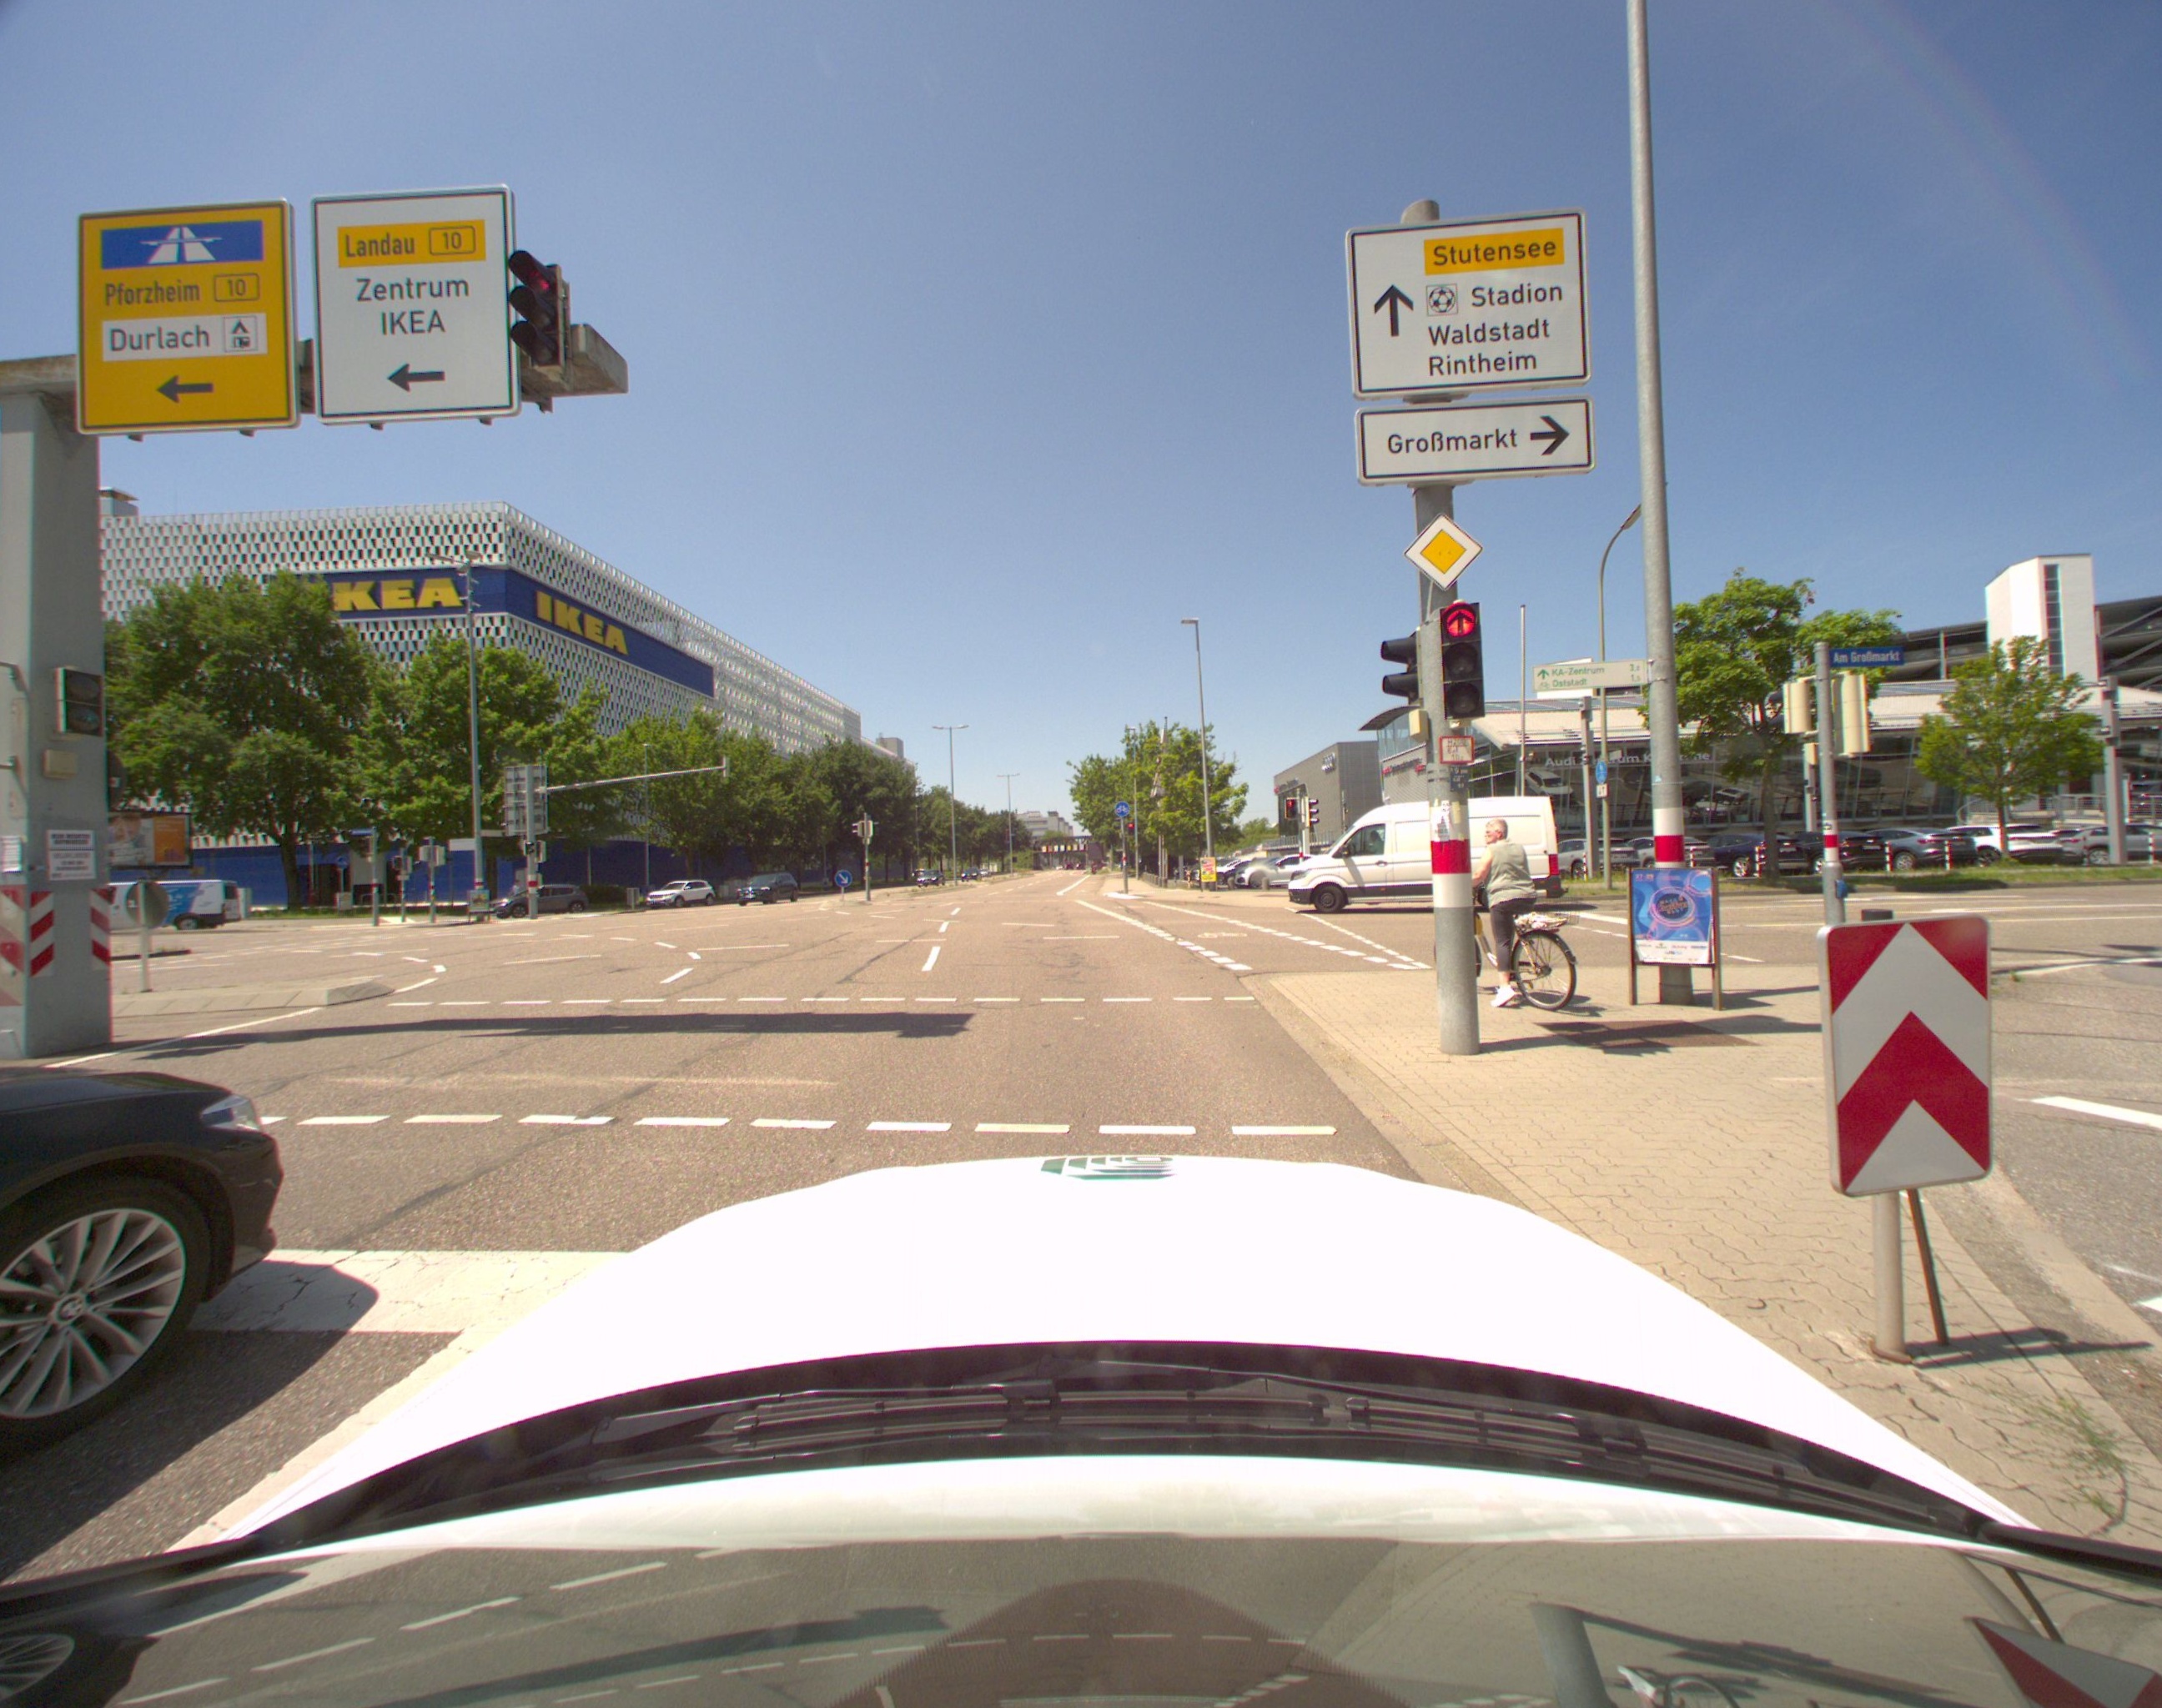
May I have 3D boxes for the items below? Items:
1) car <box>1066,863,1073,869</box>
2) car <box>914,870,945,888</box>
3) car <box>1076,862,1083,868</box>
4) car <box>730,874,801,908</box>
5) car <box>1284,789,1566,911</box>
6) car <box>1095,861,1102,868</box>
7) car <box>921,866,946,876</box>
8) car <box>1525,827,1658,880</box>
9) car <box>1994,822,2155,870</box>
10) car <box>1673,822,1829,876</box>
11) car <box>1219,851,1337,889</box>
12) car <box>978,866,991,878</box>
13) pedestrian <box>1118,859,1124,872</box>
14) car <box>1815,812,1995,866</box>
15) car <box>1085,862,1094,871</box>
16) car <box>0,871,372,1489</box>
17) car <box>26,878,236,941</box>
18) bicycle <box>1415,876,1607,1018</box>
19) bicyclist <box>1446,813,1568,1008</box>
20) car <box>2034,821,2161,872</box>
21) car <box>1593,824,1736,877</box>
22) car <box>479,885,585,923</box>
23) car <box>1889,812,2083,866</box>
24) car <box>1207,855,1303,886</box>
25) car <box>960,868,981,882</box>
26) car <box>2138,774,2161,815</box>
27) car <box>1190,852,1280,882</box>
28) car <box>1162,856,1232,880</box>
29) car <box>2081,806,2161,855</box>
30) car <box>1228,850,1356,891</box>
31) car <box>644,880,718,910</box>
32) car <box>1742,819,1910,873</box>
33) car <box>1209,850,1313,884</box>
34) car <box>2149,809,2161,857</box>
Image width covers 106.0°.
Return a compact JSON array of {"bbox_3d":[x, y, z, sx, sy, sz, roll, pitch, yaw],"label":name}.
[{"bbox_3d":[-3.224,3.279,225.966,1.765,1.728,4.001,-3,-1,2],"label":"car"},{"bbox_3d":[-12.814,2.107,69.246,1.725,1.427,3.707,-4,-1,2],"label":"car"},{"bbox_3d":[-0.491,2.998,220.597,1.765,1.728,4.001,-3,-1,2],"label":"car"},{"bbox_3d":[-16.768,1.910,43.498,1.868,1.598,4.498,-3,-1,2],"label":"car"},{"bbox_3d":[7.881,-0.018,19.193,5.734,2.534,2.113,-2,-1,19],"label":"car"},{"bbox_3d":[4.762,2.766,220.859,1.765,1.728,4.001,-3,-1,2],"label":"car"},{"bbox_3d":[-27.204,3.170,149.984,3.982,1.810,2.010,0,0,19],"label":"car"},{"bbox_3d":[17.936,-0.020,28.896,1.986,1.639,4.443,-3,0,2],"label":"car"},{"bbox_3d":[40.296,-0.301,33.156,3.720,1.772,1.781,-3,-1,32],"label":"car"},{"bbox_3d":[23.224,-0.170,28.489,1.821,1.639,4.476,-3,0,2],"label":"car"},{"bbox_3d":[8.586,0.700,35.821,4.721,1.457,2.002,-2,-2,3],"label":"car"},{"bbox_3d":[-15.049,2.784,127.278,1.645,1.653,4.160,-2,-1,-2],"label":"car"},{"bbox_3d":[4.852,1.369,99.203,0.665,1.510,0.736,-2,-1,1],"label":"pedestrian"},{"bbox_3d":[28.553,-0.496,28.468,1.821,1.639,4.476,-3,0,2],"label":"car"},{"bbox_3d":[1.086,1.645,105.529,1.133,1.042,2.309,-2,0,2],"label":"car"},{"bbox_3d":[-3.531,0.807,0.657,1.793,1.466,4.624,-1,0,1],"label":"car"},{"bbox_3d":[-35.682,2.040,30.840,4.784,2.008,1.978,-2,-1,-35],"label":"car"},{"bbox_3d":[4.047,0.817,7.873,0.784,1.127,1.919,-1,0,-2],"label":"bicycle"},{"bbox_3d":[4.017,0.503,7.734,0.732,1.749,0.753,-1,0,-3],"label":"bicyclist"},{"bbox_3d":[39.146,-0.279,30.752,3.665,1.777,1.759,-3,-1,28],"label":"car"},{"bbox_3d":[20.361,-0.109,28.696,1.878,1.639,4.526,-3,0,2],"label":"car"},{"bbox_3d":[-26.324,2.380,39.133,1.753,1.533,3.778,-3,-1,35],"label":"car"},{"bbox_3d":[31.223,-0.480,28.332,1.821,1.639,4.476,-3,0,2],"label":"car"},{"bbox_3d":[9.277,0.880,43.759,4.726,1.457,2.000,-2,0,0],"label":"car"},{"bbox_3d":[-12.401,2.342,91.381,1.678,1.411,3.666,-3,-1,2],"label":"car"},{"bbox_3d":[54.912,-3.029,39.506,1.989,2.013,3.995,-2,-1,-3],"label":"car"},{"bbox_3d":[8.747,0.729,46.497,4.726,1.457,2.000,-2,0,0],"label":"car"},{"bbox_3d":[8.329,1.011,58.754,4.726,1.457,2.000,-3,0,0],"label":"car"},{"bbox_3d":[46.736,-1.038,35.415,3.728,2.014,1.866,-2,-1,11],"label":"car"},{"bbox_3d":[8.509,0.640,33.208,4.721,1.457,2.002,-2,0,3],"label":"car"},{"bbox_3d":[-22.812,2.304,46.570,1.611,1.457,4.082,-3,-1,11],"label":"car"},{"bbox_3d":[25.842,-0.260,28.513,1.821,1.639,4.476,-3,0,2],"label":"car"},{"bbox_3d":[8.749,0.625,39.878,4.721,1.457,2.002,-2,0,3],"label":"car"},{"bbox_3d":[39.423,-0.811,26.876,4.705,1.639,1.844,-3,0,24],"label":"car"}]
